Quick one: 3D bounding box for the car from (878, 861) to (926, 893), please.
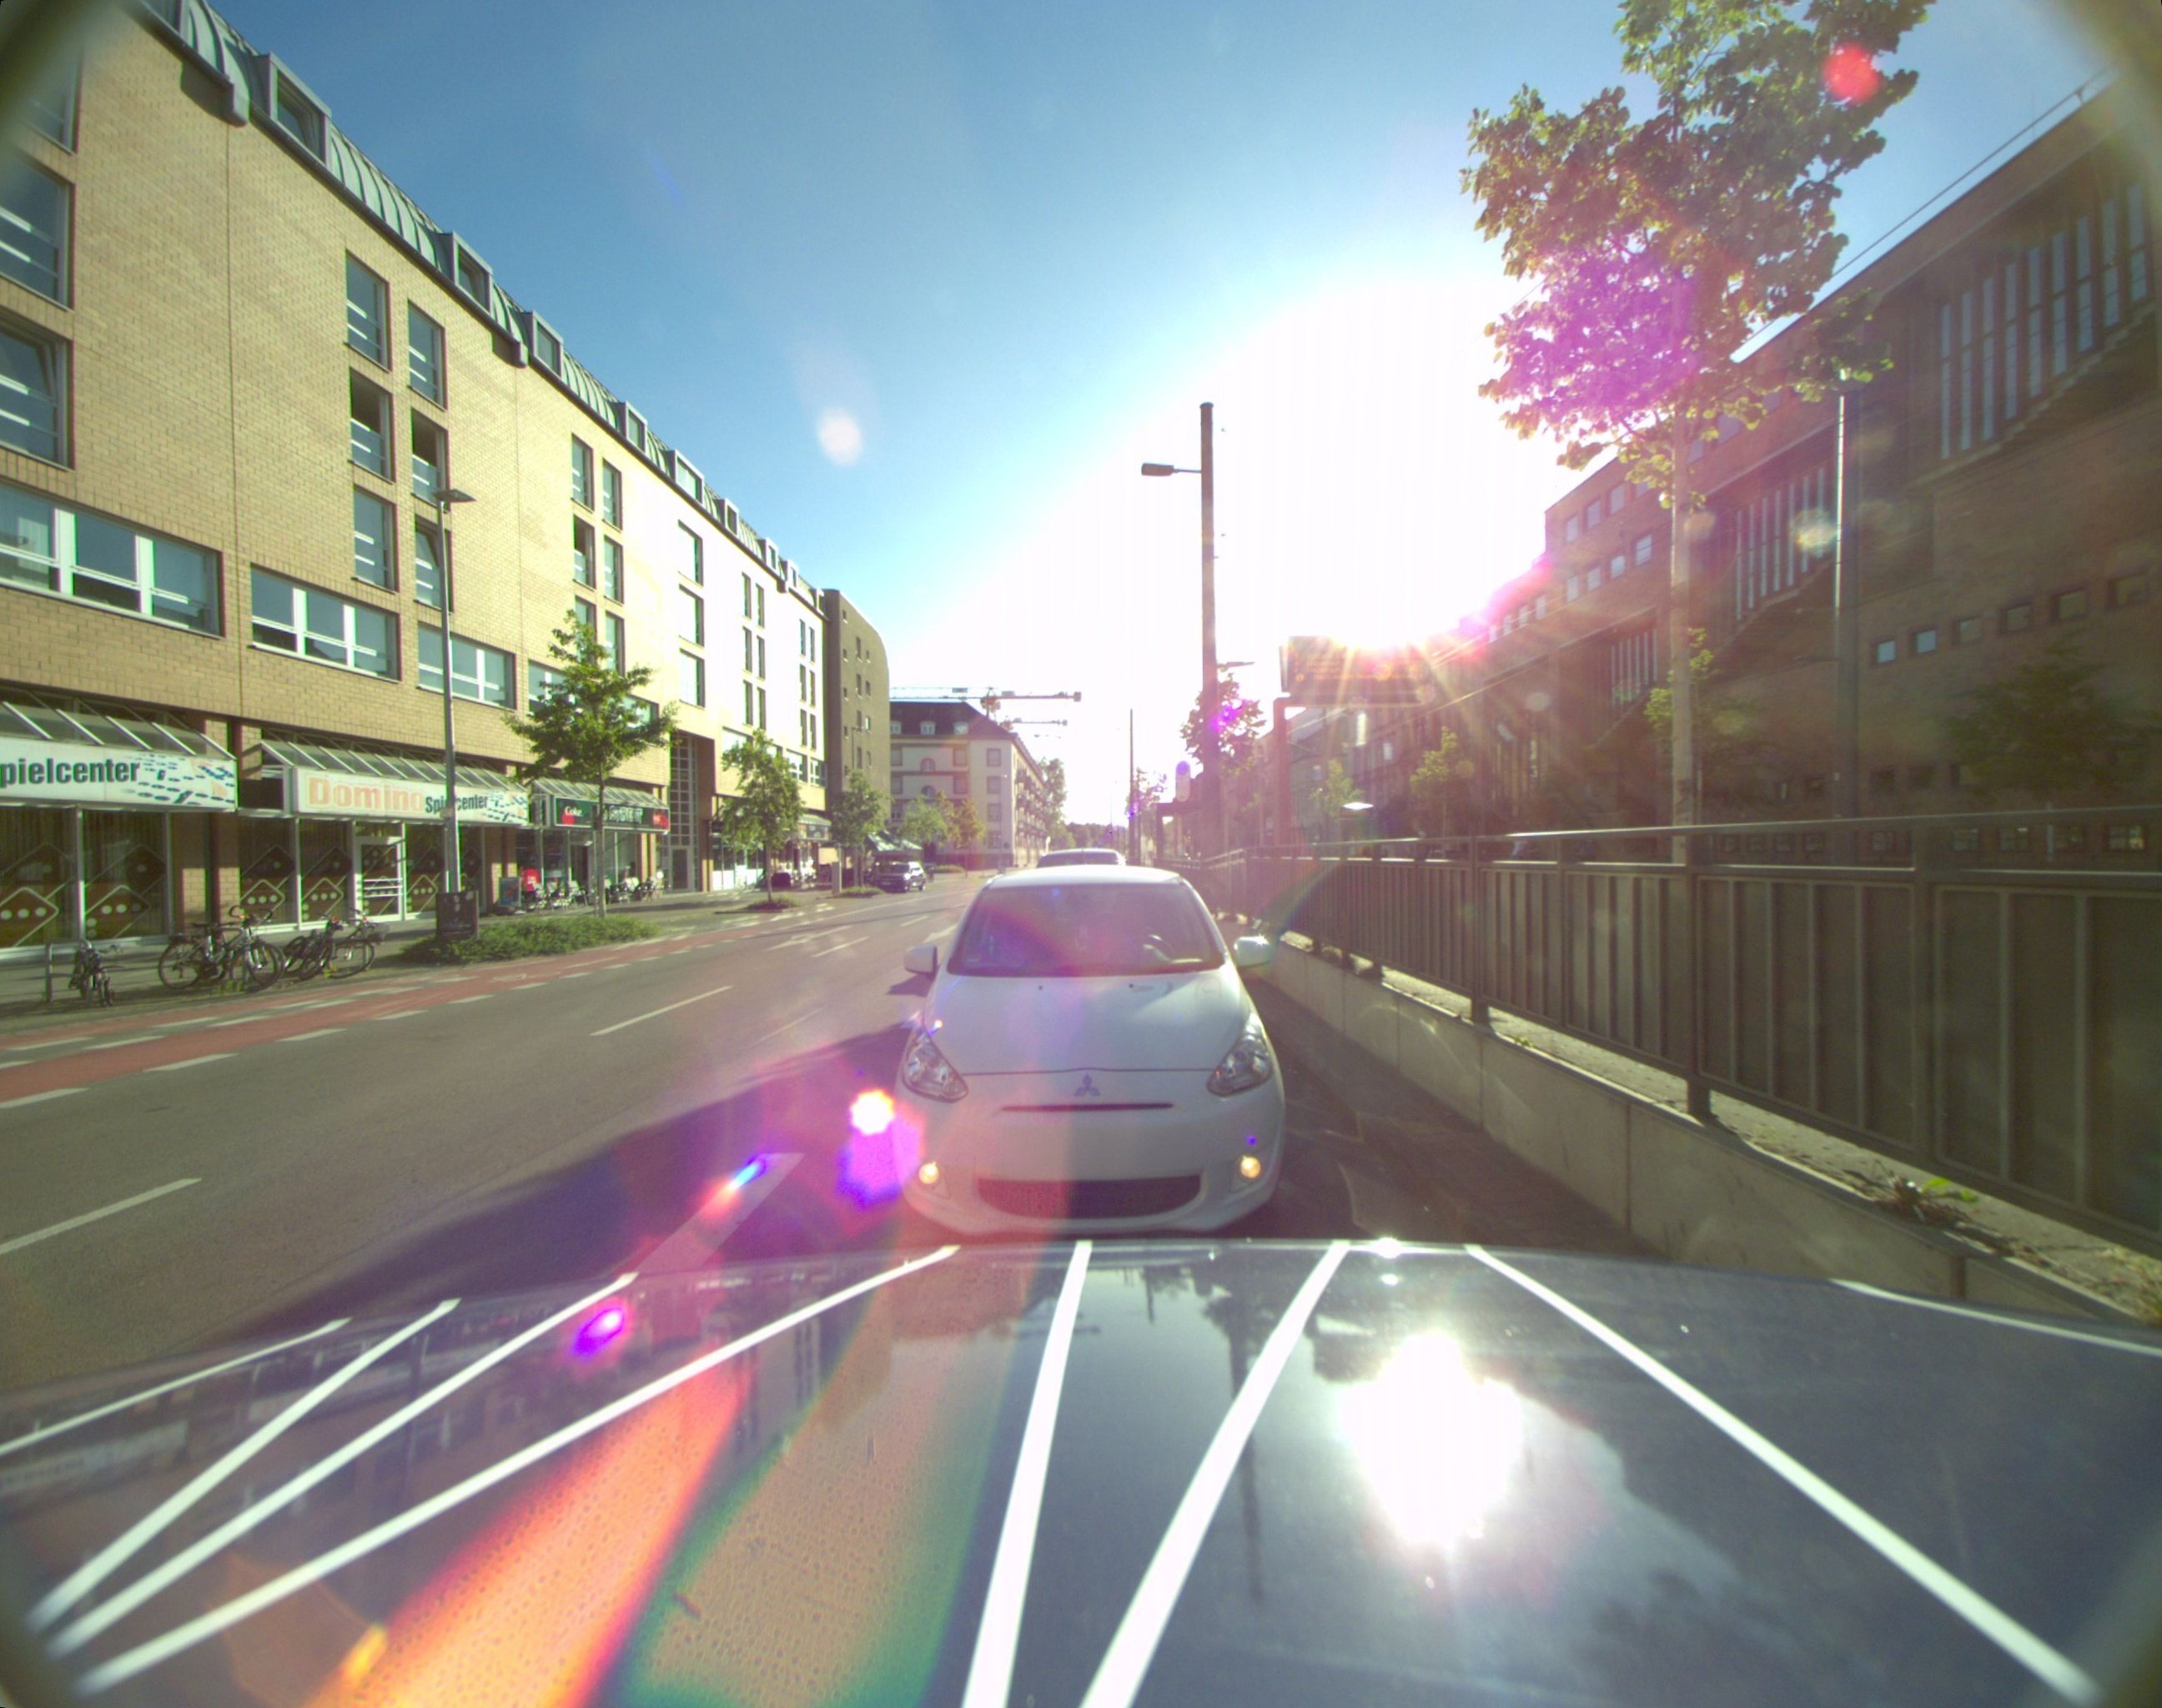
[{"bbox_3d":[-9.769,1.240,41.694,1.655,1.521,3.693,-2,1,1],"label":"car"}]

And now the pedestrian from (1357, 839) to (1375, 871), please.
[{"bbox_3d":[14.522,0.052,38.723,0.692,1.566,0.586,-1,1,-2],"label":"pedestrian"}]

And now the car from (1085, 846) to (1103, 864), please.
[{"bbox_3d":[1.529,0.082,87.062,1.998,1.958,4.000,-1,0,1],"label":"car"}]

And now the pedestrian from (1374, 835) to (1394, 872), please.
[{"bbox_3d":[14.390,-0.006,36.138,0.692,1.732,0.586,-1,1,-2],"label":"pedestrian"}]

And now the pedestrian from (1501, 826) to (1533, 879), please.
[{"bbox_3d":[14.444,-0.054,25.181,0.692,1.732,0.586,-1,1,-2],"label":"pedestrian"}]

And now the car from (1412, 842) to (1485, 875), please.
[{"bbox_3d":[17.394,0.188,36.143,1.702,1.477,3.704,-1,0,1],"label":"car"}]

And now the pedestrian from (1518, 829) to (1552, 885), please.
[{"bbox_3d":[14.508,0.093,24.288,0.692,1.732,0.586,-1,1,-2],"label":"pedestrian"}]

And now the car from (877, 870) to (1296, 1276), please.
[{"bbox_3d":[0.051,0.934,5.160,1.640,1.458,4.186,-2,1,1],"label":"car"}]

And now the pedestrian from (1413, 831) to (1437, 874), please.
[{"bbox_3d":[13.878,-0.065,30.687,0.692,1.732,0.586,-1,1,-2],"label":"pedestrian"}]

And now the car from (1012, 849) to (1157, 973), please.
[{"bbox_3d":[0.076,0.781,12.794,1.955,1.652,4.355,-2,1,1],"label":"car"}]

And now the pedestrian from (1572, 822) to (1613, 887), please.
[{"bbox_3d":[13.930,0.016,20.699,0.692,1.732,0.586,-1,1,-2],"label":"pedestrian"}]

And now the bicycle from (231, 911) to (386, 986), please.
[{"bbox_3d":[-12.391,1.500,12.218,1.774,1.065,0.737,0,2,3],"label":"bicycle"}]

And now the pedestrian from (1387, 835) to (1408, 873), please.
[{"bbox_3d":[14.480,0.005,34.803,0.692,1.732,0.586,-1,1,-2],"label":"pedestrian"}]

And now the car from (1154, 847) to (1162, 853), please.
[{"bbox_3d":[18.773,-0.942,185.012,1.702,1.477,3.704,-1,0,1],"label":"car"}]

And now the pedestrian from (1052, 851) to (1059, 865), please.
[{"bbox_3d":[-2.916,0.458,86.823,0.804,1.656,0.891,-1,1,-6],"label":"pedestrian"}]

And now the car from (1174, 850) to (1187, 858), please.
[{"bbox_3d":[17.441,0.022,133.786,1.703,1.477,3.703,-1,0,-1],"label":"car"}]

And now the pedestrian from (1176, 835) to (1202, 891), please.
[{"bbox_3d":[3.907,0.316,27.564,0.784,2.002,0.880,-1,1,0],"label":"pedestrian"}]

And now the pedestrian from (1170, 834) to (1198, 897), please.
[{"bbox_3d":[3.340,0.357,24.770,0.784,2.002,0.880,-1,1,1],"label":"pedestrian"}]

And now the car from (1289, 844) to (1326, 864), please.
[{"bbox_3d":[17.343,-0.018,58.336,1.702,1.477,3.704,-1,0,1],"label":"car"}]

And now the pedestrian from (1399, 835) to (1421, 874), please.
[{"bbox_3d":[14.478,0.020,33.469,0.692,1.732,0.586,-1,1,-2],"label":"pedestrian"}]

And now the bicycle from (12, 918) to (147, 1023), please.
[{"bbox_3d":[-12.821,1.451,9.725,1.771,1.142,0.554,1,2,21],"label":"bicycle"}]

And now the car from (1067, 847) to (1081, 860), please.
[{"bbox_3d":[-0.879,-0.024,97.876,1.829,1.644,3.682,-1,0,-1],"label":"car"}]

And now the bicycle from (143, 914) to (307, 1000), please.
[{"bbox_3d":[-12.353,1.478,10.988,1.774,1.135,0.553,0,2,3],"label":"bicycle"}]
